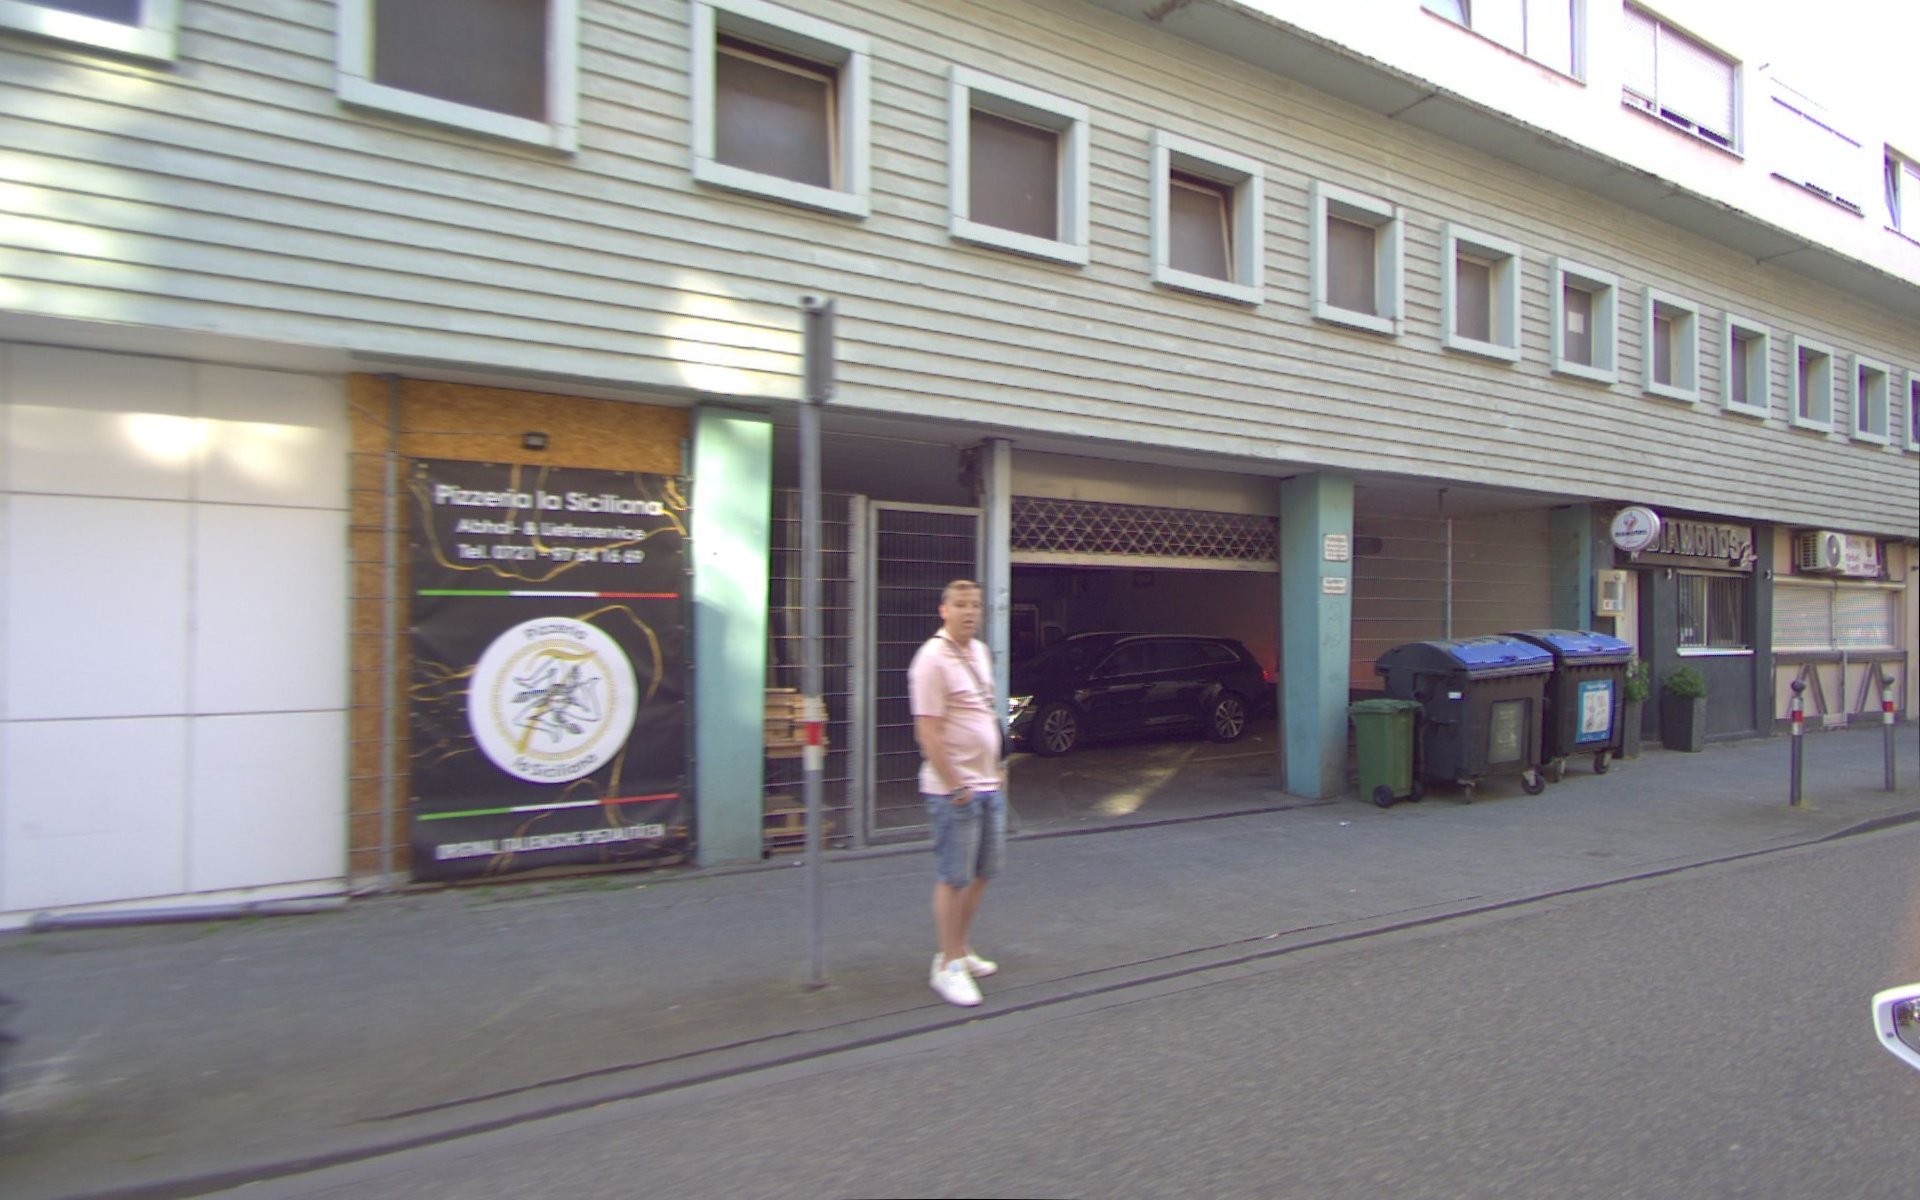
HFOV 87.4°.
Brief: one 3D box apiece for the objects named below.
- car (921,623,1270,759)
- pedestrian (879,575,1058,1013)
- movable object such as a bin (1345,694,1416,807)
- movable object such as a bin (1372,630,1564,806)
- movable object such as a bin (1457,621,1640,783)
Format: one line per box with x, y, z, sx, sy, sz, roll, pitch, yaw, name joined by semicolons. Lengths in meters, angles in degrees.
1.891;1.116;13.546;4.546;1.555;1.754;1;-1;-29;car
0.020;0.755;4.176;0.617;1.692;0.492;1;1;-12;pedestrian
3.829;1.352;9.146;0.461;0.954;0.391;1;-1;-29;movable object such as a bin
4.798;1.044;9.504;1.457;1.491;0.964;-1;-1;-29;movable object such as a bin
6.096;0.995;10.437;1.326;1.540;1.117;0;-1;-29;movable object such as a bin
